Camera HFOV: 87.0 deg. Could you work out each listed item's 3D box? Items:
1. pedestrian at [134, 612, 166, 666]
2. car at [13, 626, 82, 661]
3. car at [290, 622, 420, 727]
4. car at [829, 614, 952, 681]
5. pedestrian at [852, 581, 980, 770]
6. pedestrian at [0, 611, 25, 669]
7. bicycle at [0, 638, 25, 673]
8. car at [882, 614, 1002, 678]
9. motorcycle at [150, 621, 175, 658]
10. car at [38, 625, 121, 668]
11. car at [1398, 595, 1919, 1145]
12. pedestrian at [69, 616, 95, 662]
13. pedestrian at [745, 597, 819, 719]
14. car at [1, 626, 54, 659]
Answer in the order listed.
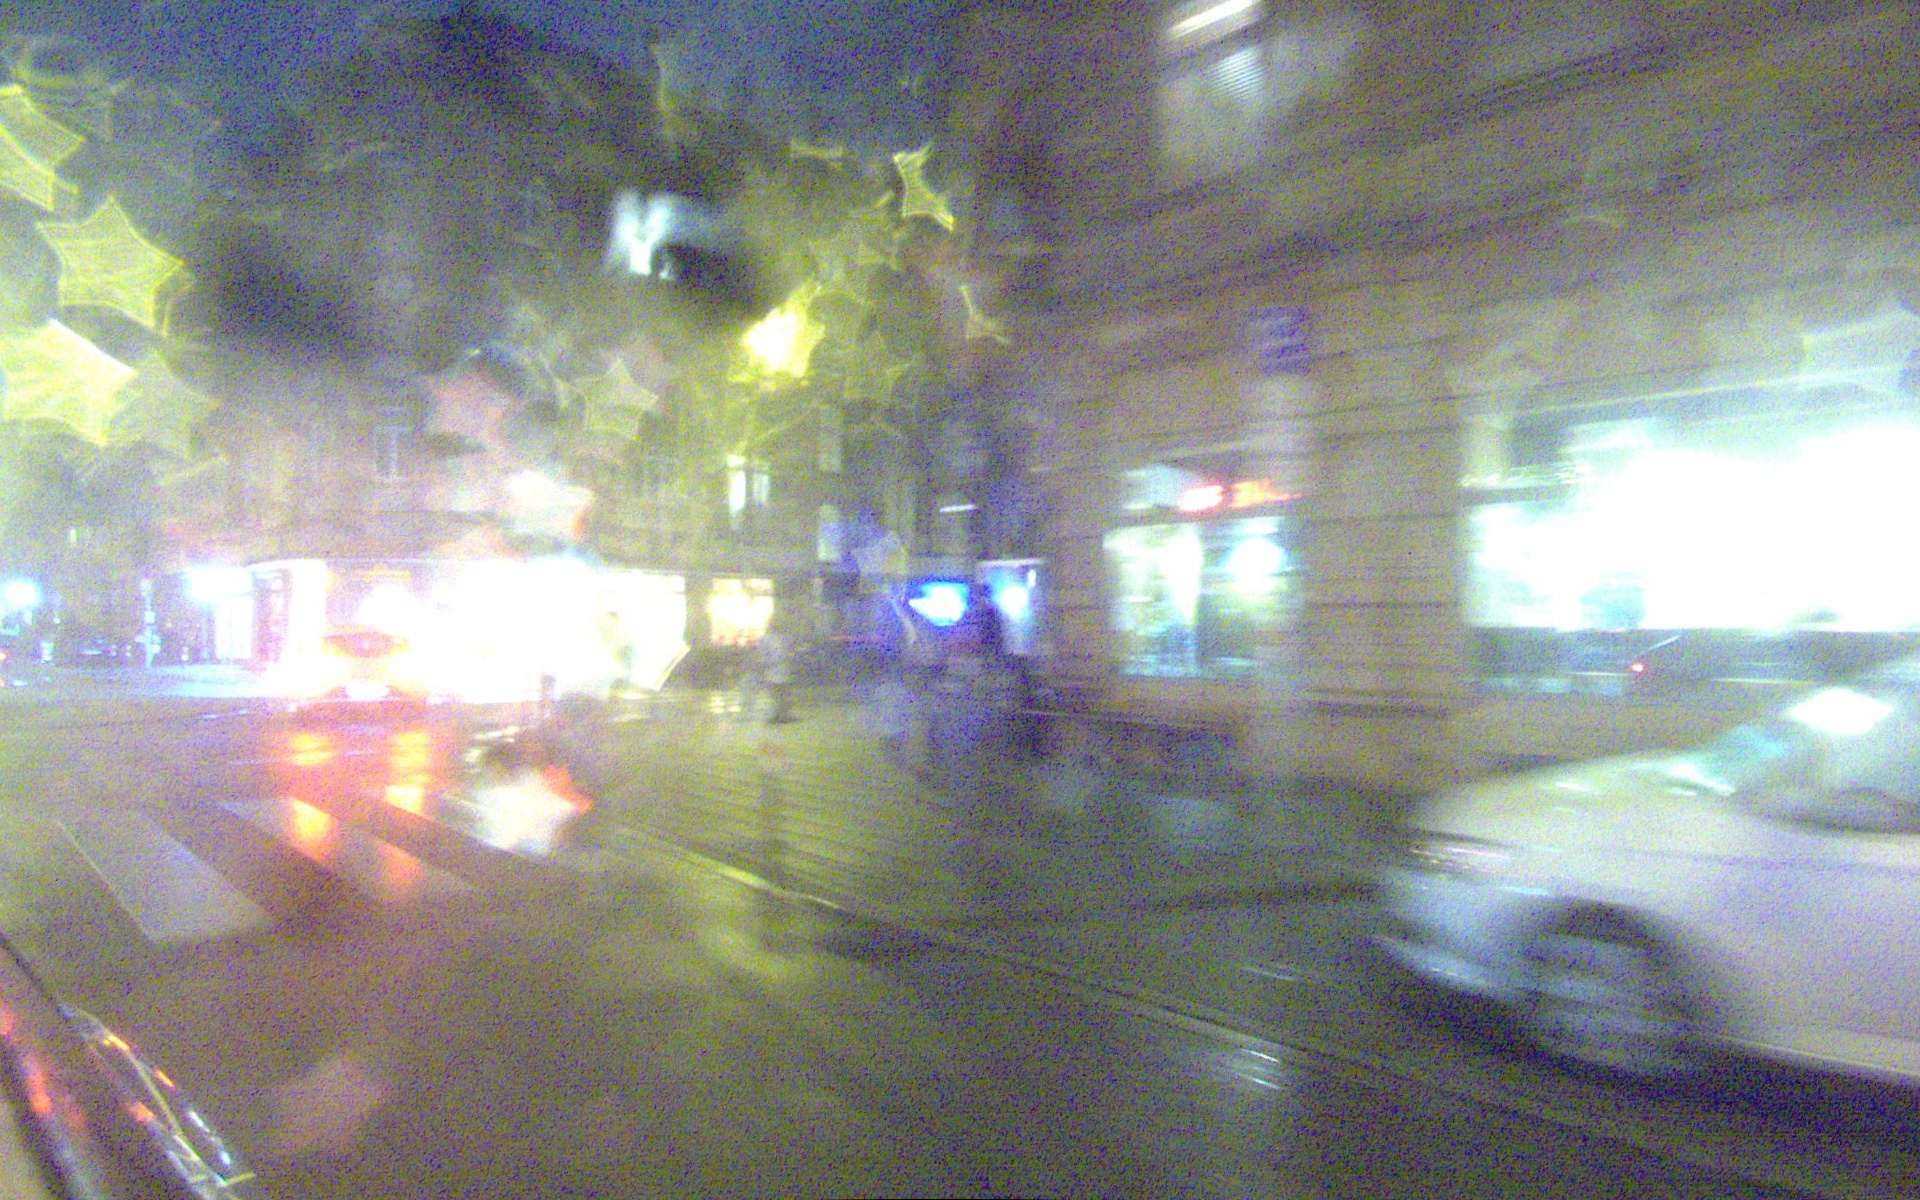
[{"bbox_3d":[-27.432,1.301,34.290,0.815,1.784,0.601,0,-1,-36],"label":"pedestrian"},{"bbox_3d":[-40.461,1.890,44.846,4.156,1.490,1.699,-1,-1,40],"label":"car"},{"bbox_3d":[-9.572,1.090,16.084,1.541,1.438,4.081,2,-2,-31],"label":"car"},{"bbox_3d":[-2.346,1.491,33.492,1.970,2.029,4.003,-1,0,-44],"label":"car"},{"bbox_3d":[-0.450,0.709,10.170,0.794,1.779,1.017,-1,0,-42],"label":"pedestrian"},{"bbox_3d":[-30.615,1.295,32.521,1.125,1.825,0.704,-2,-3,43],"label":"pedestrian"},{"bbox_3d":[-30.590,1.772,32.480,1.802,1.067,0.704,-2,-3,43],"label":"bicycle"},{"bbox_3d":[-0.667,1.542,35.257,1.970,2.029,4.003,-1,0,-44],"label":"car"},{"bbox_3d":[-32.052,1.575,40.666,1.457,1.482,0.531,-2,-1,42],"label":"motorcycle"},{"bbox_3d":[-32.947,1.692,37.808,5.030,1.490,1.827,-2,-2,43],"label":"car"},{"bbox_3d":[3.640,0.732,2.945,4.024,1.474,1.569,-2,1,43],"label":"car"},{"bbox_3d":[-43.463,1.931,50.105,1.116,2.258,0.790,-2,-2,41],"label":"pedestrian"},{"bbox_3d":[-2.835,0.918,16.118,0.786,1.872,0.949,3,-4,-35],"label":"pedestrian"},{"bbox_3d":[-44.673,1.997,48.462,3.787,1.489,1.696,-2,-1,45],"label":"car"}]
